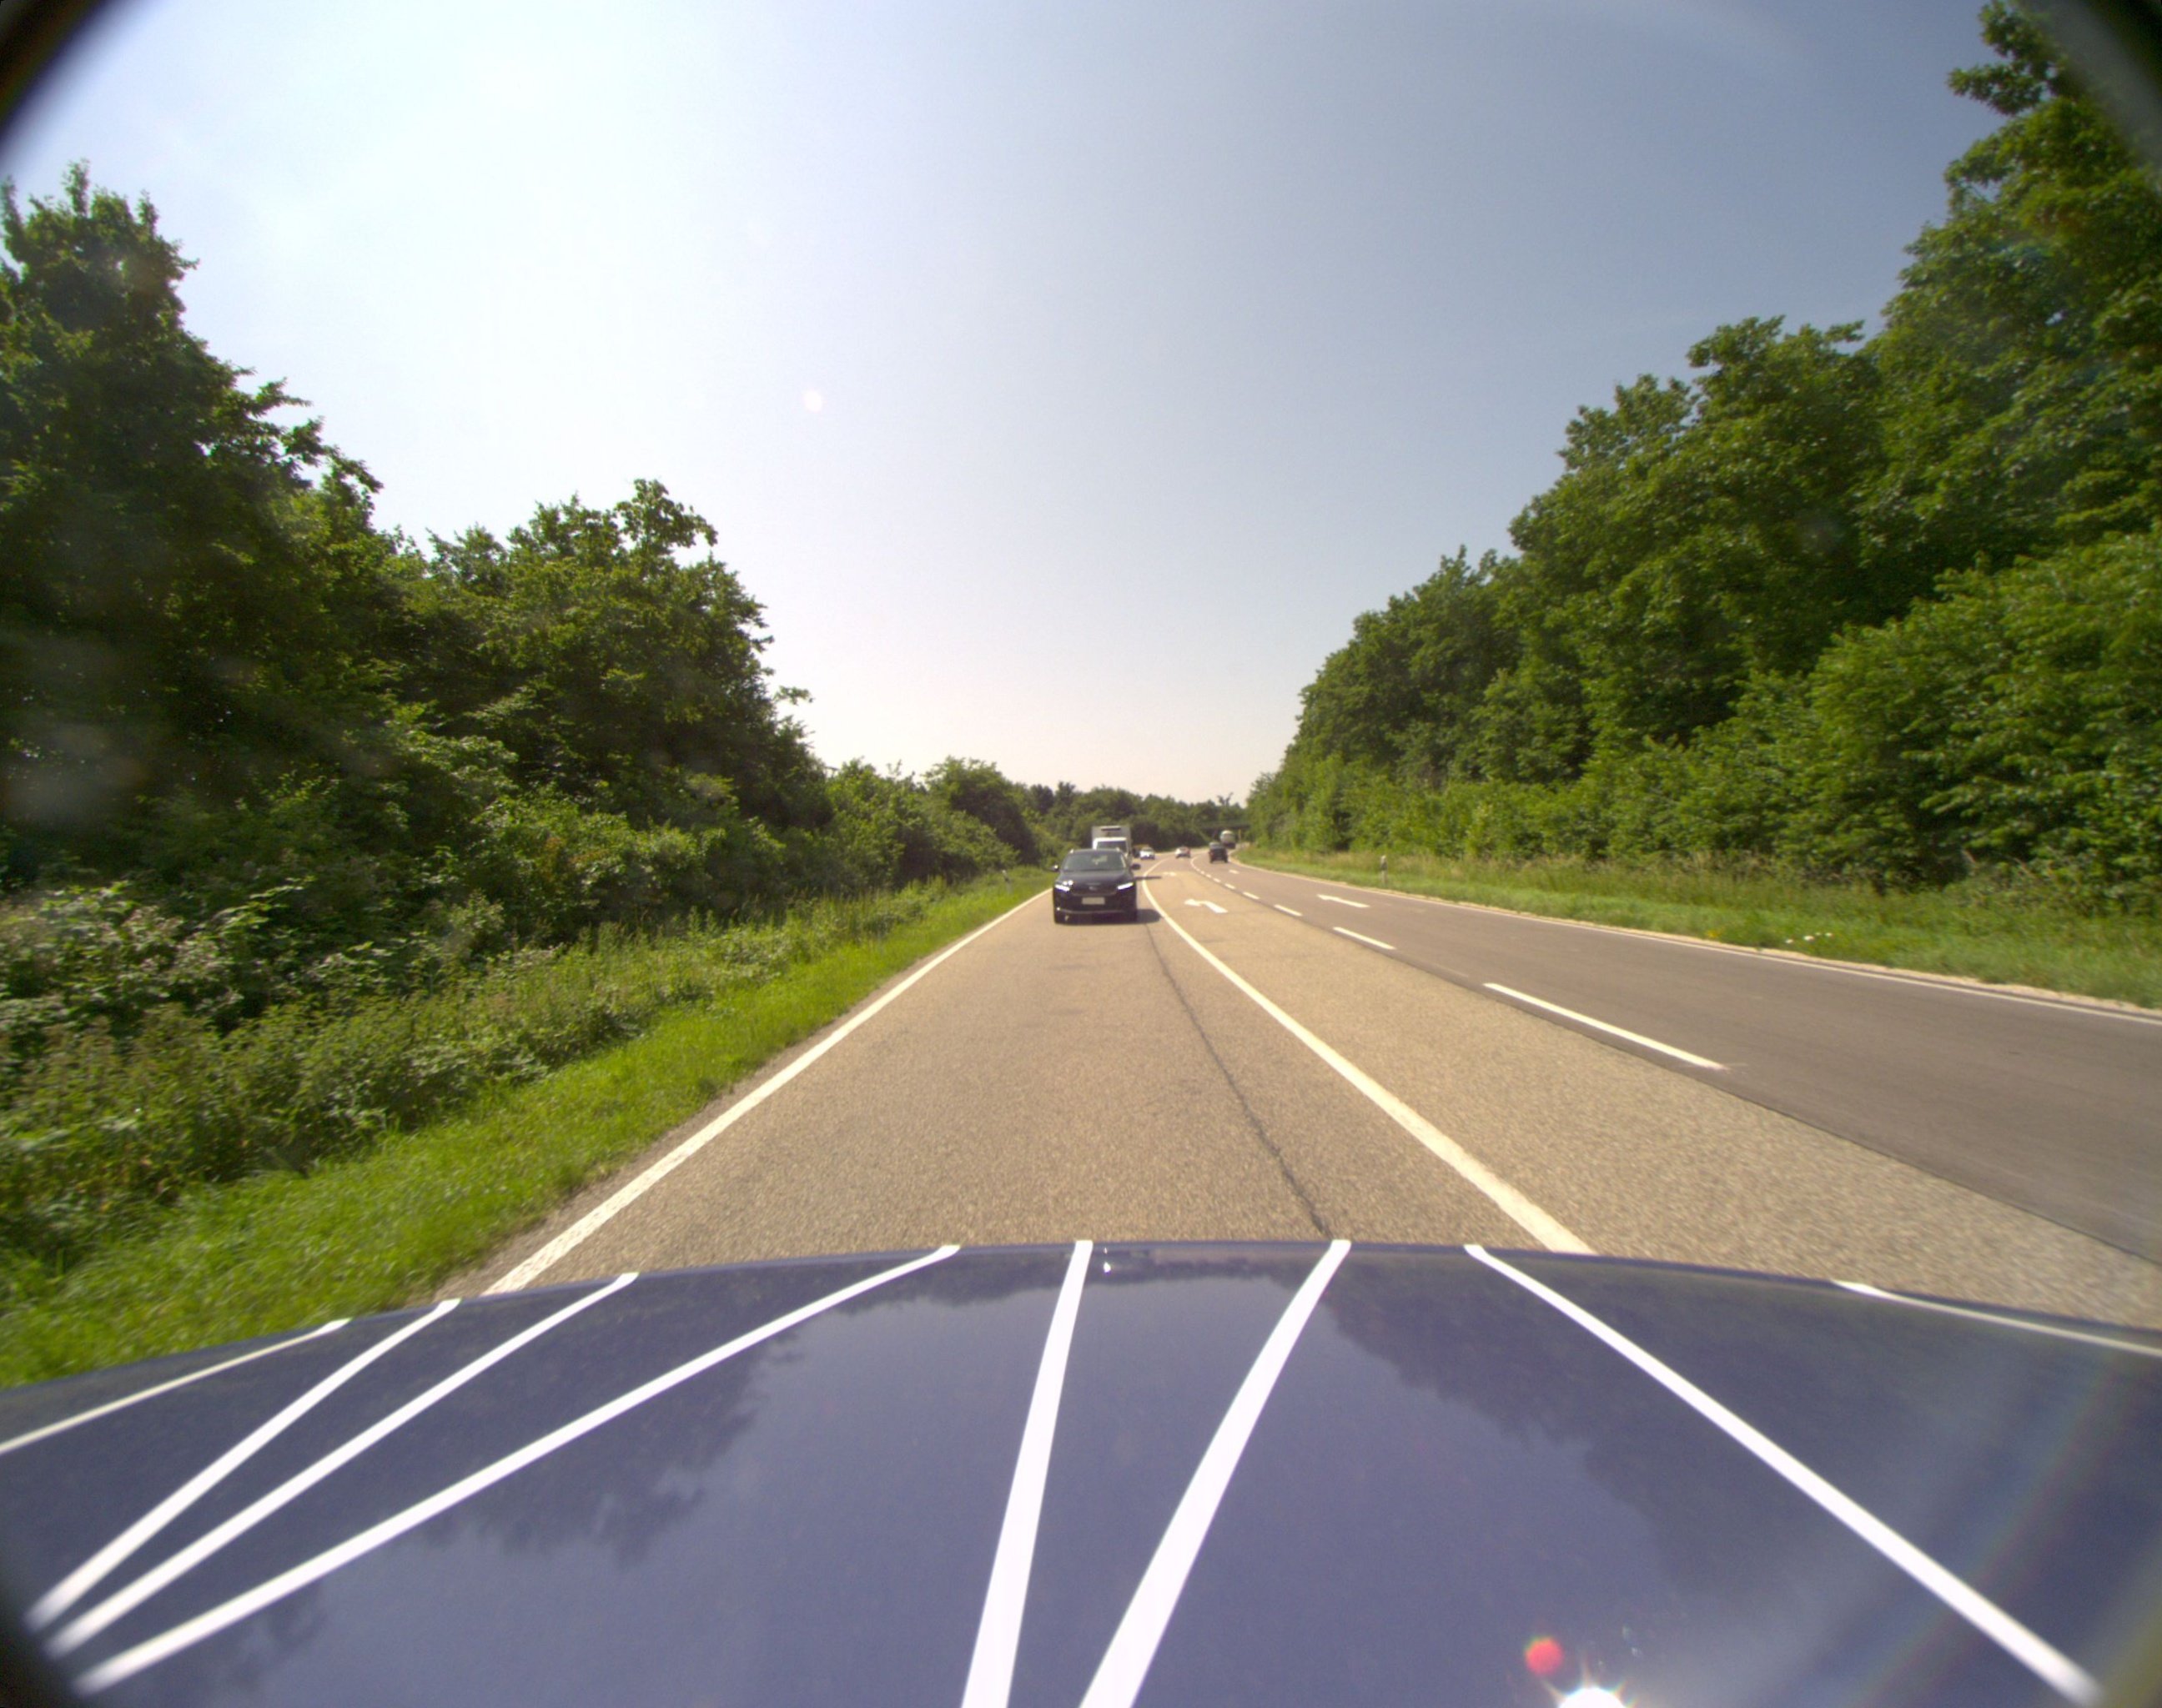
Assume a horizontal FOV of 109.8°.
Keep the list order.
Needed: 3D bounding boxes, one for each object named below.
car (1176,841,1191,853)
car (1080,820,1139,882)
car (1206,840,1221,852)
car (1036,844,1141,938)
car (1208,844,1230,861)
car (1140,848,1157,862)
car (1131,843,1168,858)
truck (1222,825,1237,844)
[{"bbox_3d":[13.552,-0.902,100.403,1.711,1.411,4.100,-2,1,10],"label":"car"},{"bbox_3d":[1.721,-0.256,41.771,2.590,3.047,6.883,-2,2,7],"label":"car"},{"bbox_3d":[19.519,-1.202,112.008,1.846,1.769,4.896,-2,1,8],"label":"car"},{"bbox_3d":[0.218,0.691,17.187,1.924,1.711,5.479,-3,0,1],"label":"car"},{"bbox_3d":[12.856,-0.169,71.081,1.618,1.493,3.553,-2,1,5],"label":"car"},{"bbox_3d":[8.753,0.108,98.509,1.809,1.797,4.000,-2,0,0],"label":"car"},{"bbox_3d":[10.421,-0.524,115.167,5.229,1.896,2.012,-3,2,-7],"label":"car"},{"bbox_3d":[30.140,-3.966,154.178,2.631,3.650,8.803,-2,1,13],"label":"truck"}]
